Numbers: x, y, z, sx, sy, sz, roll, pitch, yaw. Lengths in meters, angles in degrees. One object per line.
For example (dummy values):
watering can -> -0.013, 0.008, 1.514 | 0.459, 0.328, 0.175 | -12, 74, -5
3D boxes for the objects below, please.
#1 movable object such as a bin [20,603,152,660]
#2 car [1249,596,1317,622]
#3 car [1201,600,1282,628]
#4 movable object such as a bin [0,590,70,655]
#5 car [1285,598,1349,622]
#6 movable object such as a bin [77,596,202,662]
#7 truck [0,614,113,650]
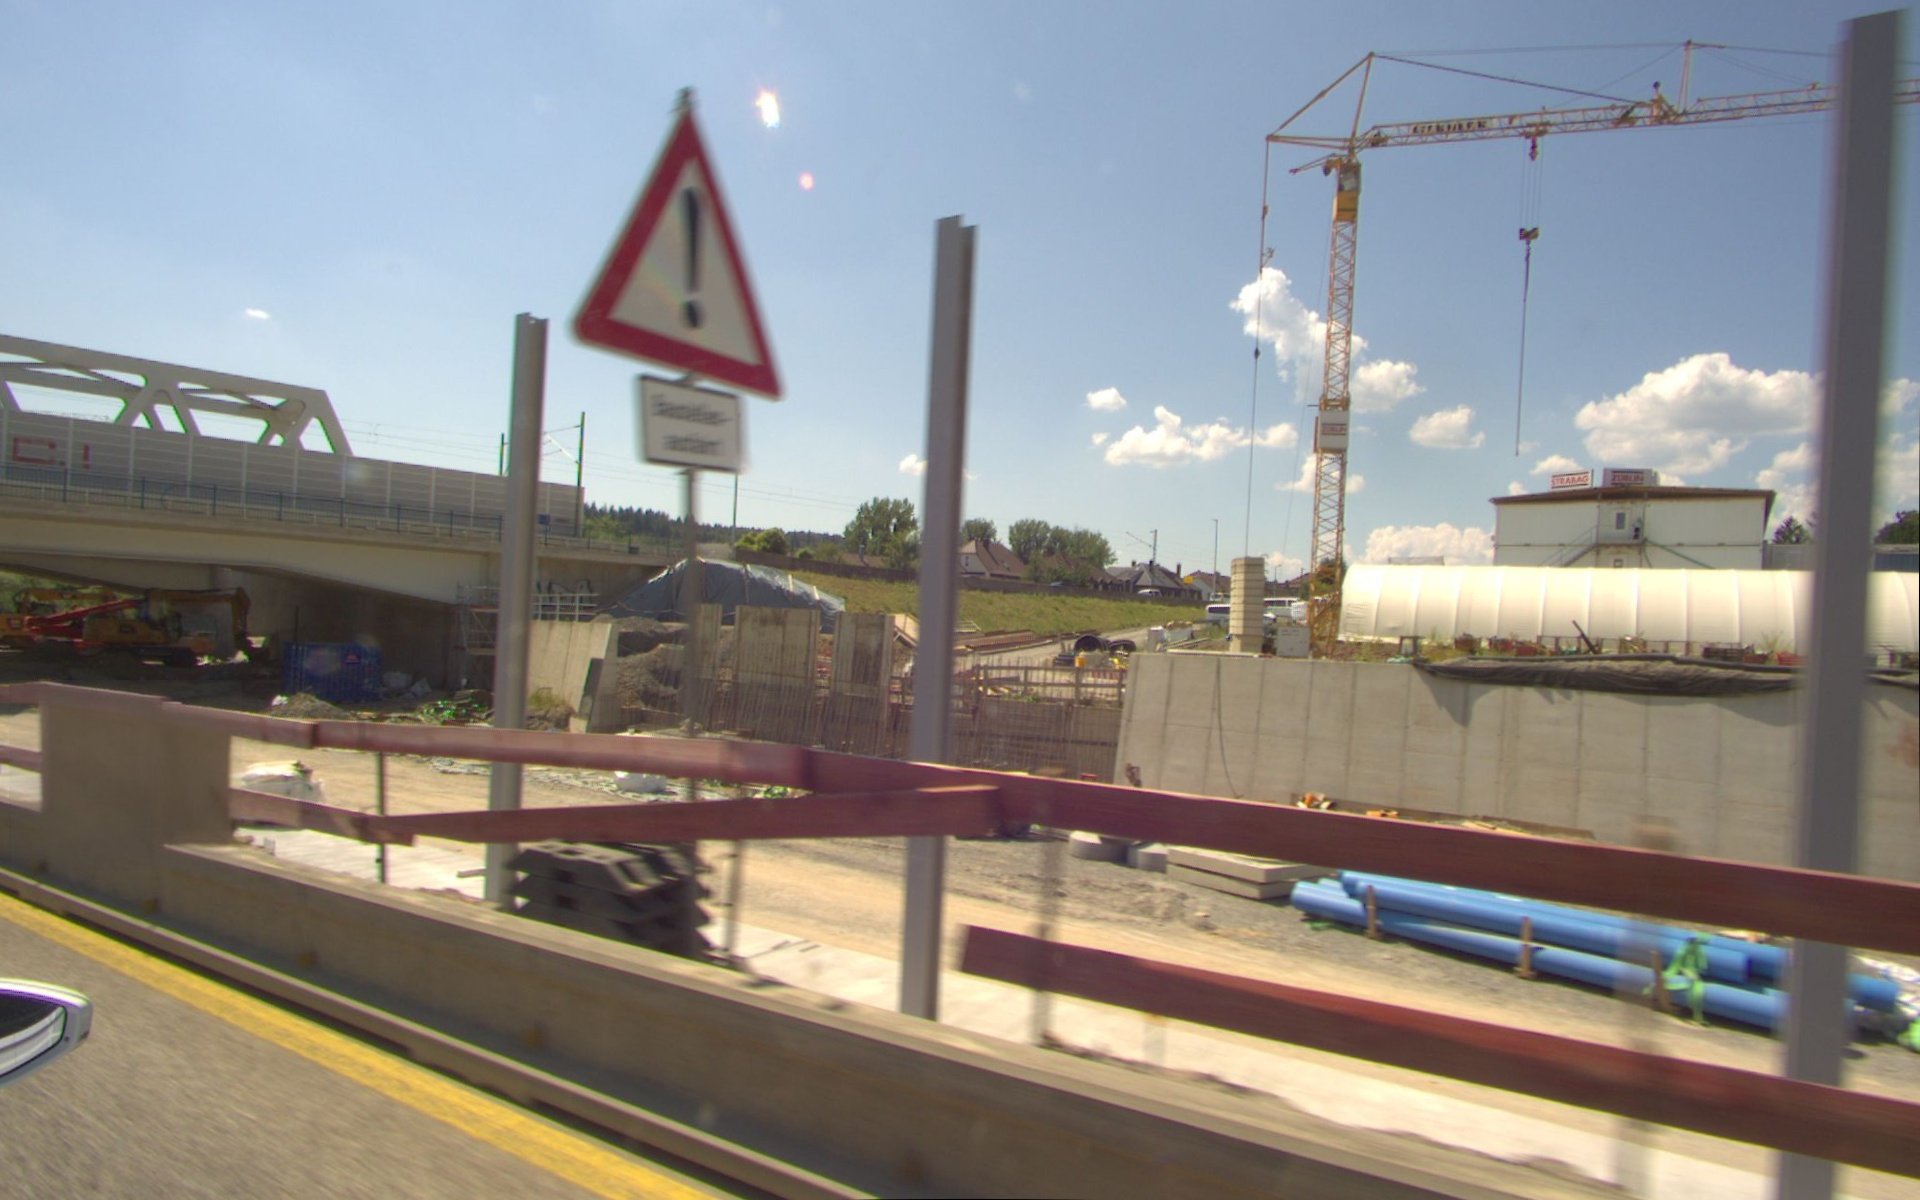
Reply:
movable object such as a bin -> -50.184, 1.877, 57.608 | 2.464, 3.094, 5.227 | -1, -4, 36
car -> 26.460, 0.737, 82.064 | 4.922, 1.984, 1.988 | -2, -2, 36
car -> 21.120, 1.117, 75.254 | 5.499, 1.984, 1.988 | -2, -2, 36
movable object such as a bin -> -54.553, 1.337, 58.208 | 2.872, 3.586, 3.862 | -2, -4, 43
car -> 31.389, 0.916, 88.112 | 4.922, 1.984, 1.988 | -2, -2, 36
movable object such as a bin -> -44.072, 1.620, 53.878 | 2.952, 3.327, 4.542 | -1, -4, 36
truck -> -57.794, 2.005, 62.934 | 2.629, 2.099, 6.507 | 1, -3, 35
